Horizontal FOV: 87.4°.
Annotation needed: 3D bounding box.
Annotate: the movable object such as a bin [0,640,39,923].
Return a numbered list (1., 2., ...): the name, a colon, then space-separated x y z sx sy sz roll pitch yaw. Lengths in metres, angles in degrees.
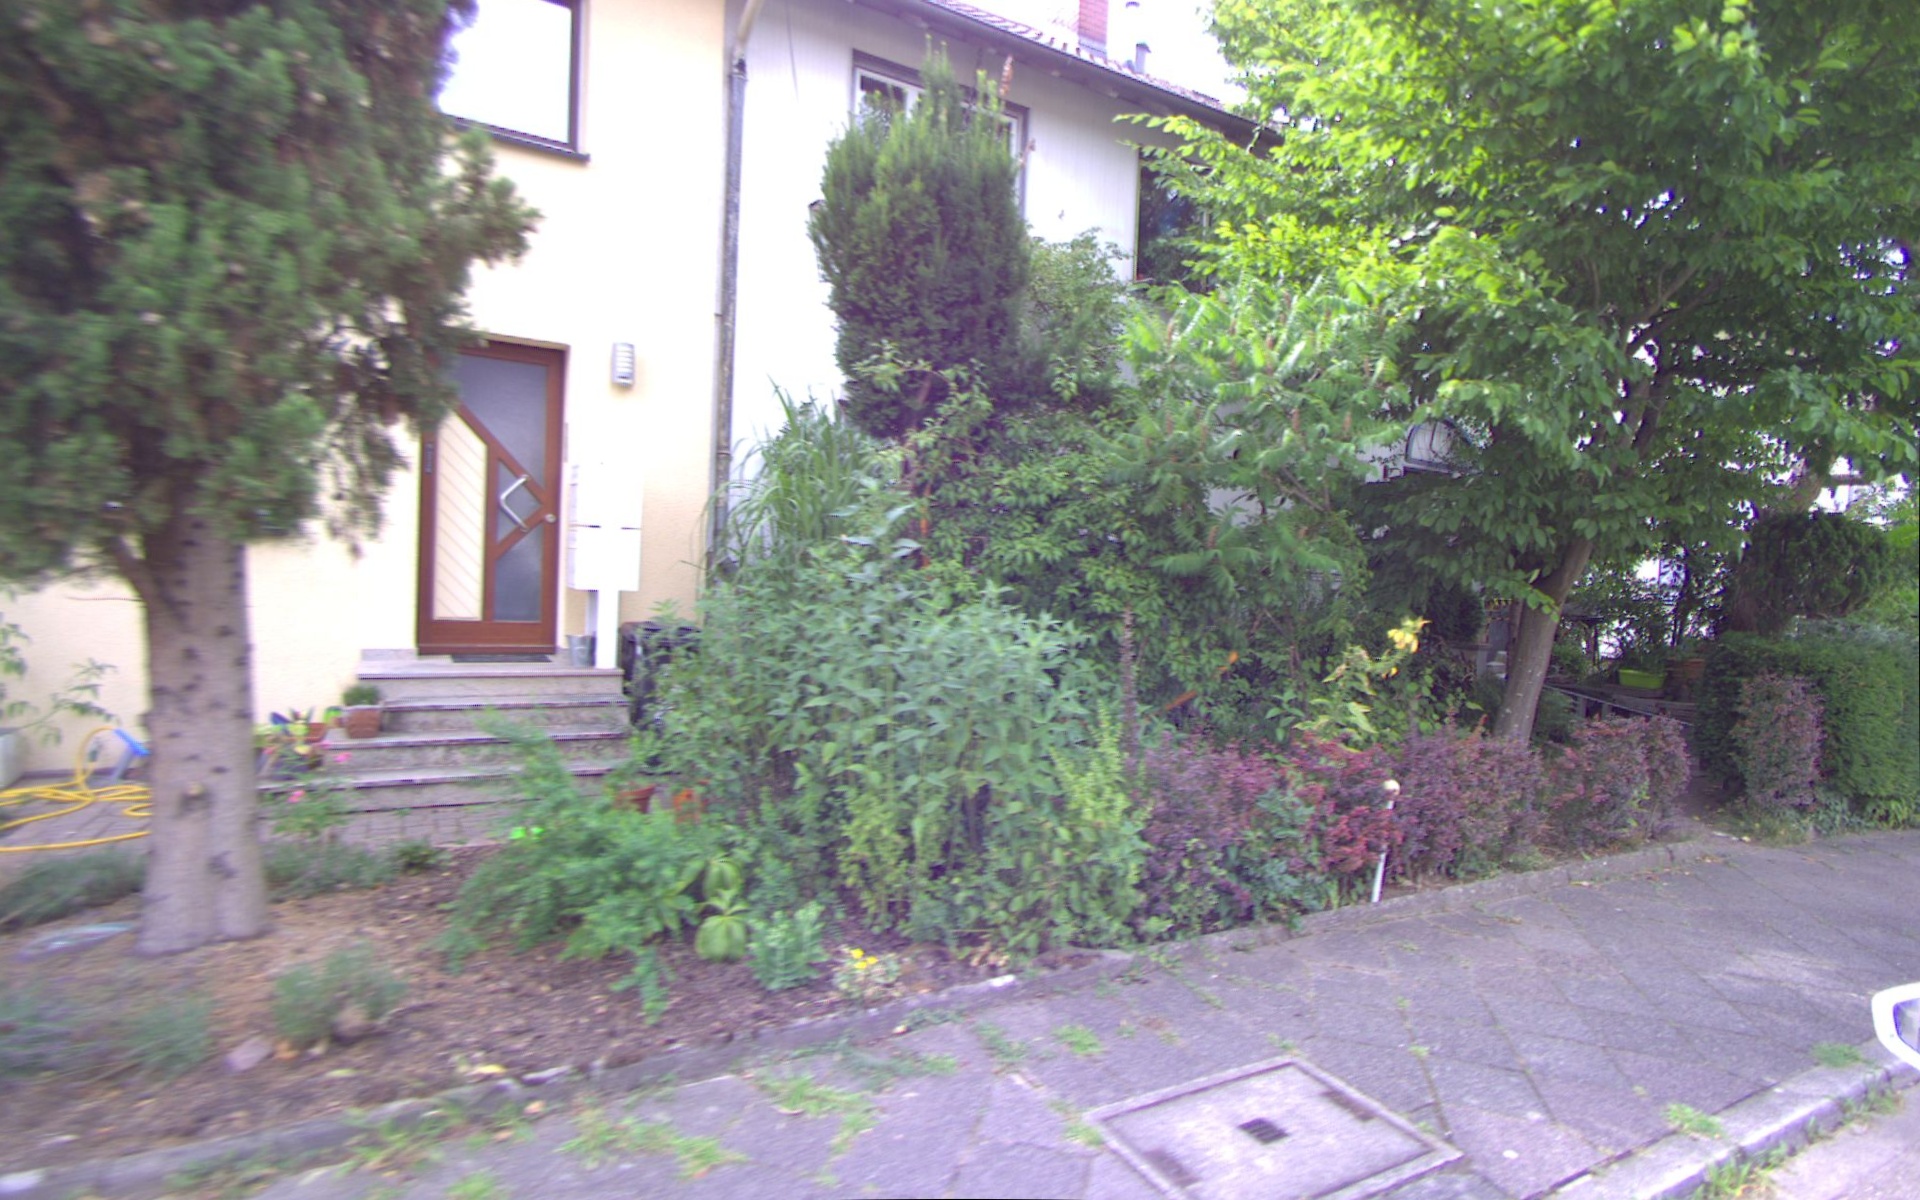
1. movable object such as a bin: -3.698 0.641 3.368 0.742 0.969 0.708 2 1 -30
